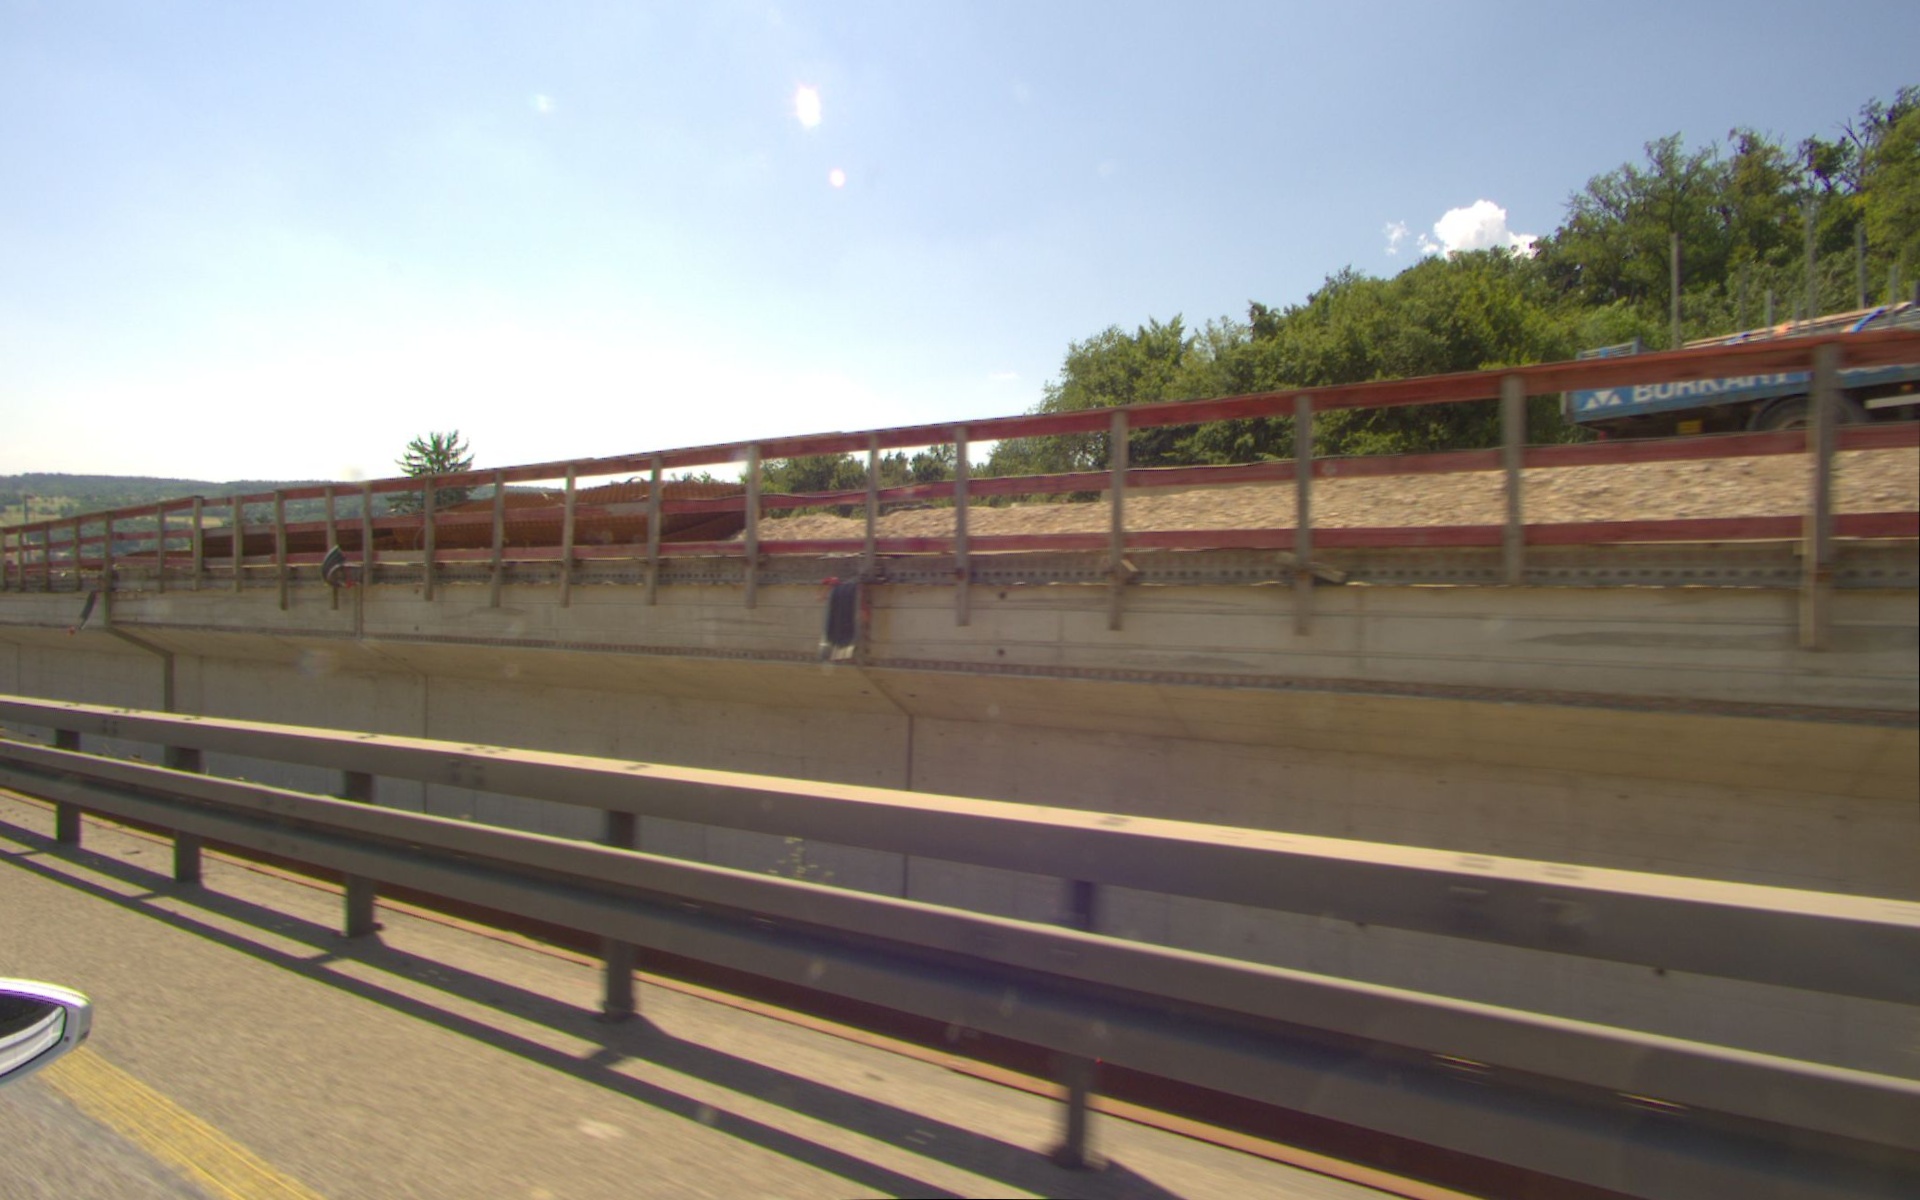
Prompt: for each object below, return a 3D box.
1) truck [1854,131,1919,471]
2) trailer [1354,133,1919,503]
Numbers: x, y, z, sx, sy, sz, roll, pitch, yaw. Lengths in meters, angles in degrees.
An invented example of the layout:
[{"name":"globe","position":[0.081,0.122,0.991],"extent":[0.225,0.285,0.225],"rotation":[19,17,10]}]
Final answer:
[{"name":"truck","position":[13.817,-3.636,10.795],"extent":[2.685,3.744,5.670],"rotation":[1,1,-35]},{"name":"trailer","position":[10.790,-3.714,15.174],"extent":[2.685,3.744,8.932],"rotation":[1,1,-35]}]
